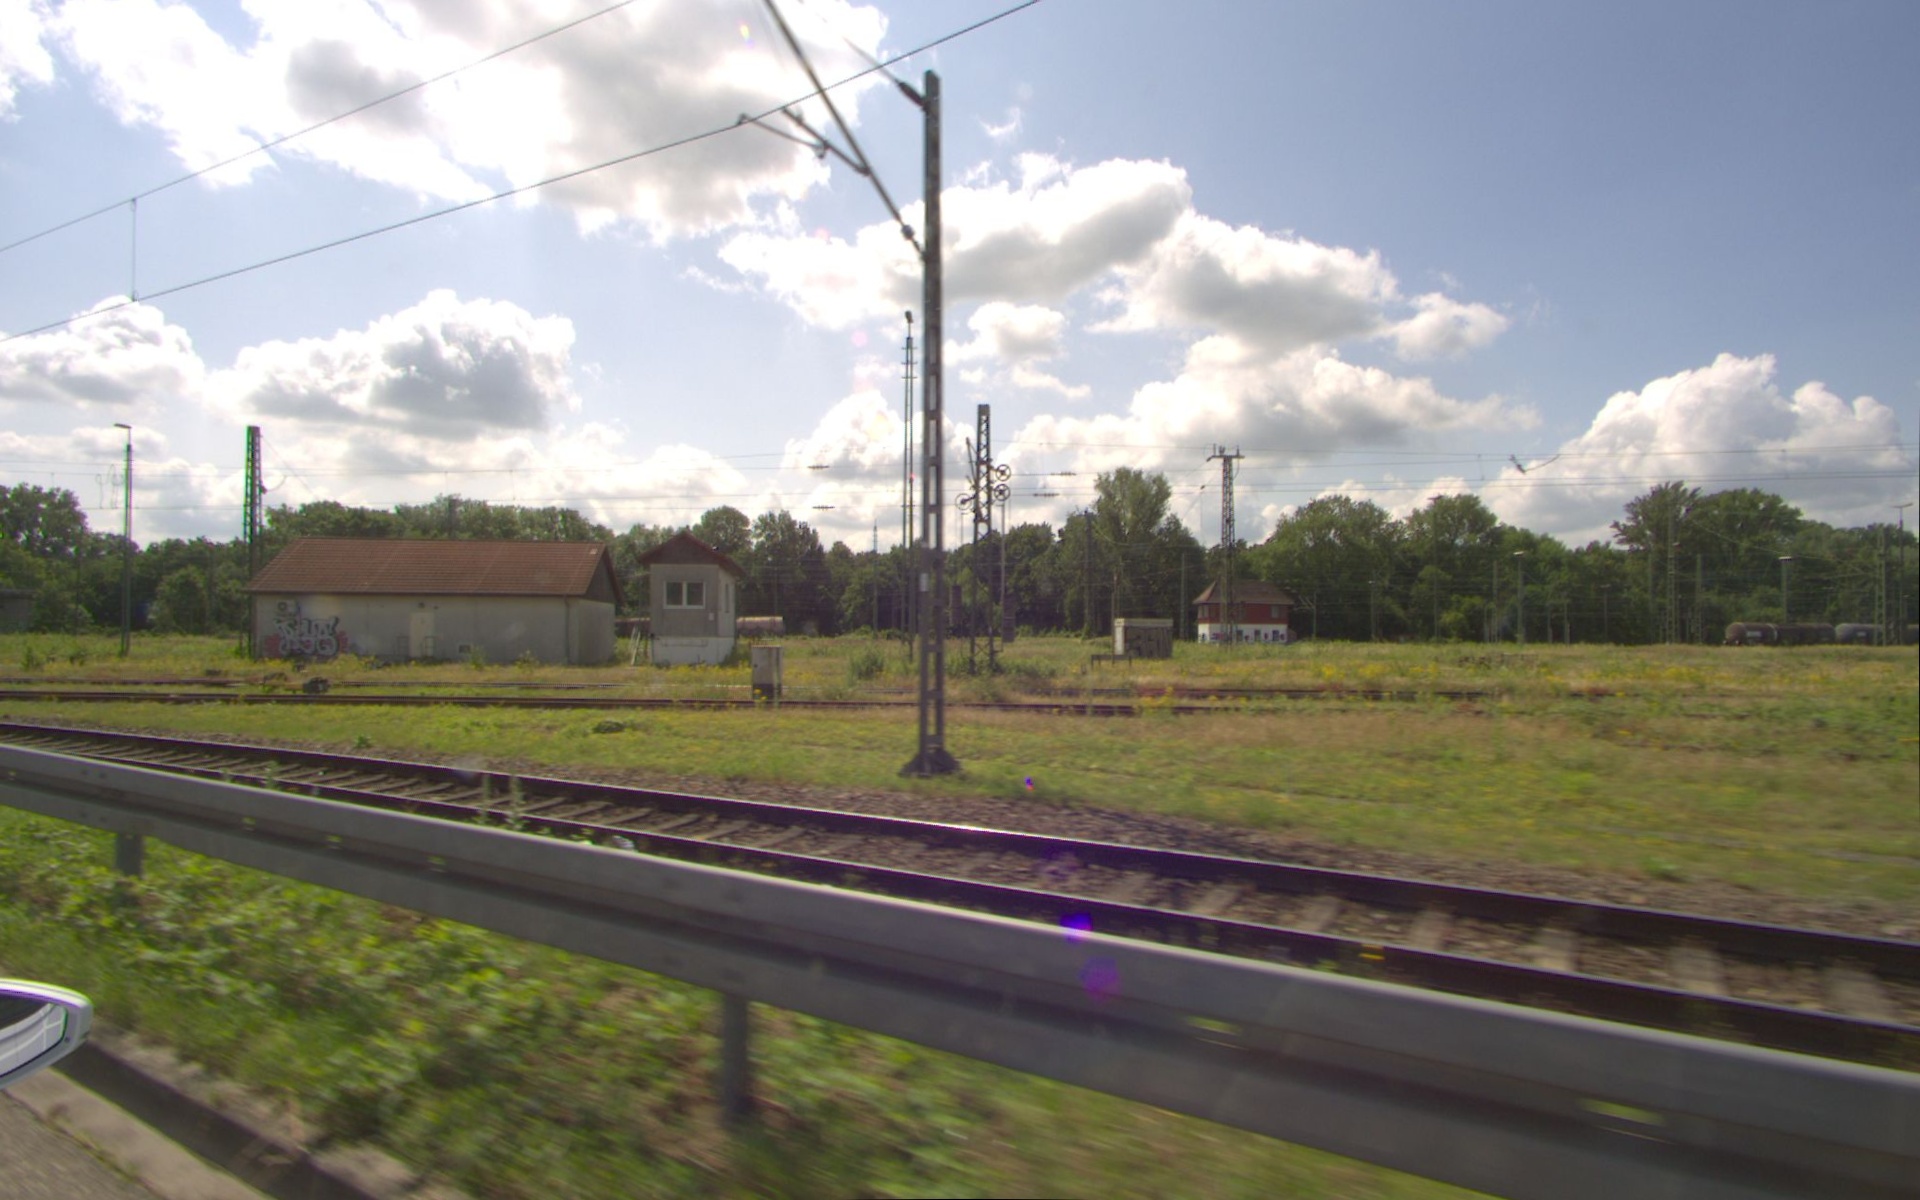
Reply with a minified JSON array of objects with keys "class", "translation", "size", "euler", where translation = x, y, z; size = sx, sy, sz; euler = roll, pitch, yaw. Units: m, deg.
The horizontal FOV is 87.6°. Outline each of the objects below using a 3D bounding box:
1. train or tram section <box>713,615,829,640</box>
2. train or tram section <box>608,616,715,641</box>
[{"class":"train or tram section","translation":[-25.932,3.794,138.043],"size":[15.460,3.347,3.034],"euler":[0,-1,-9]},{"class":"train or tram section","translation":[-40.339,3.855,135.834],"size":[13.674,3.347,3.034],"euler":[0,-1,-9]}]
